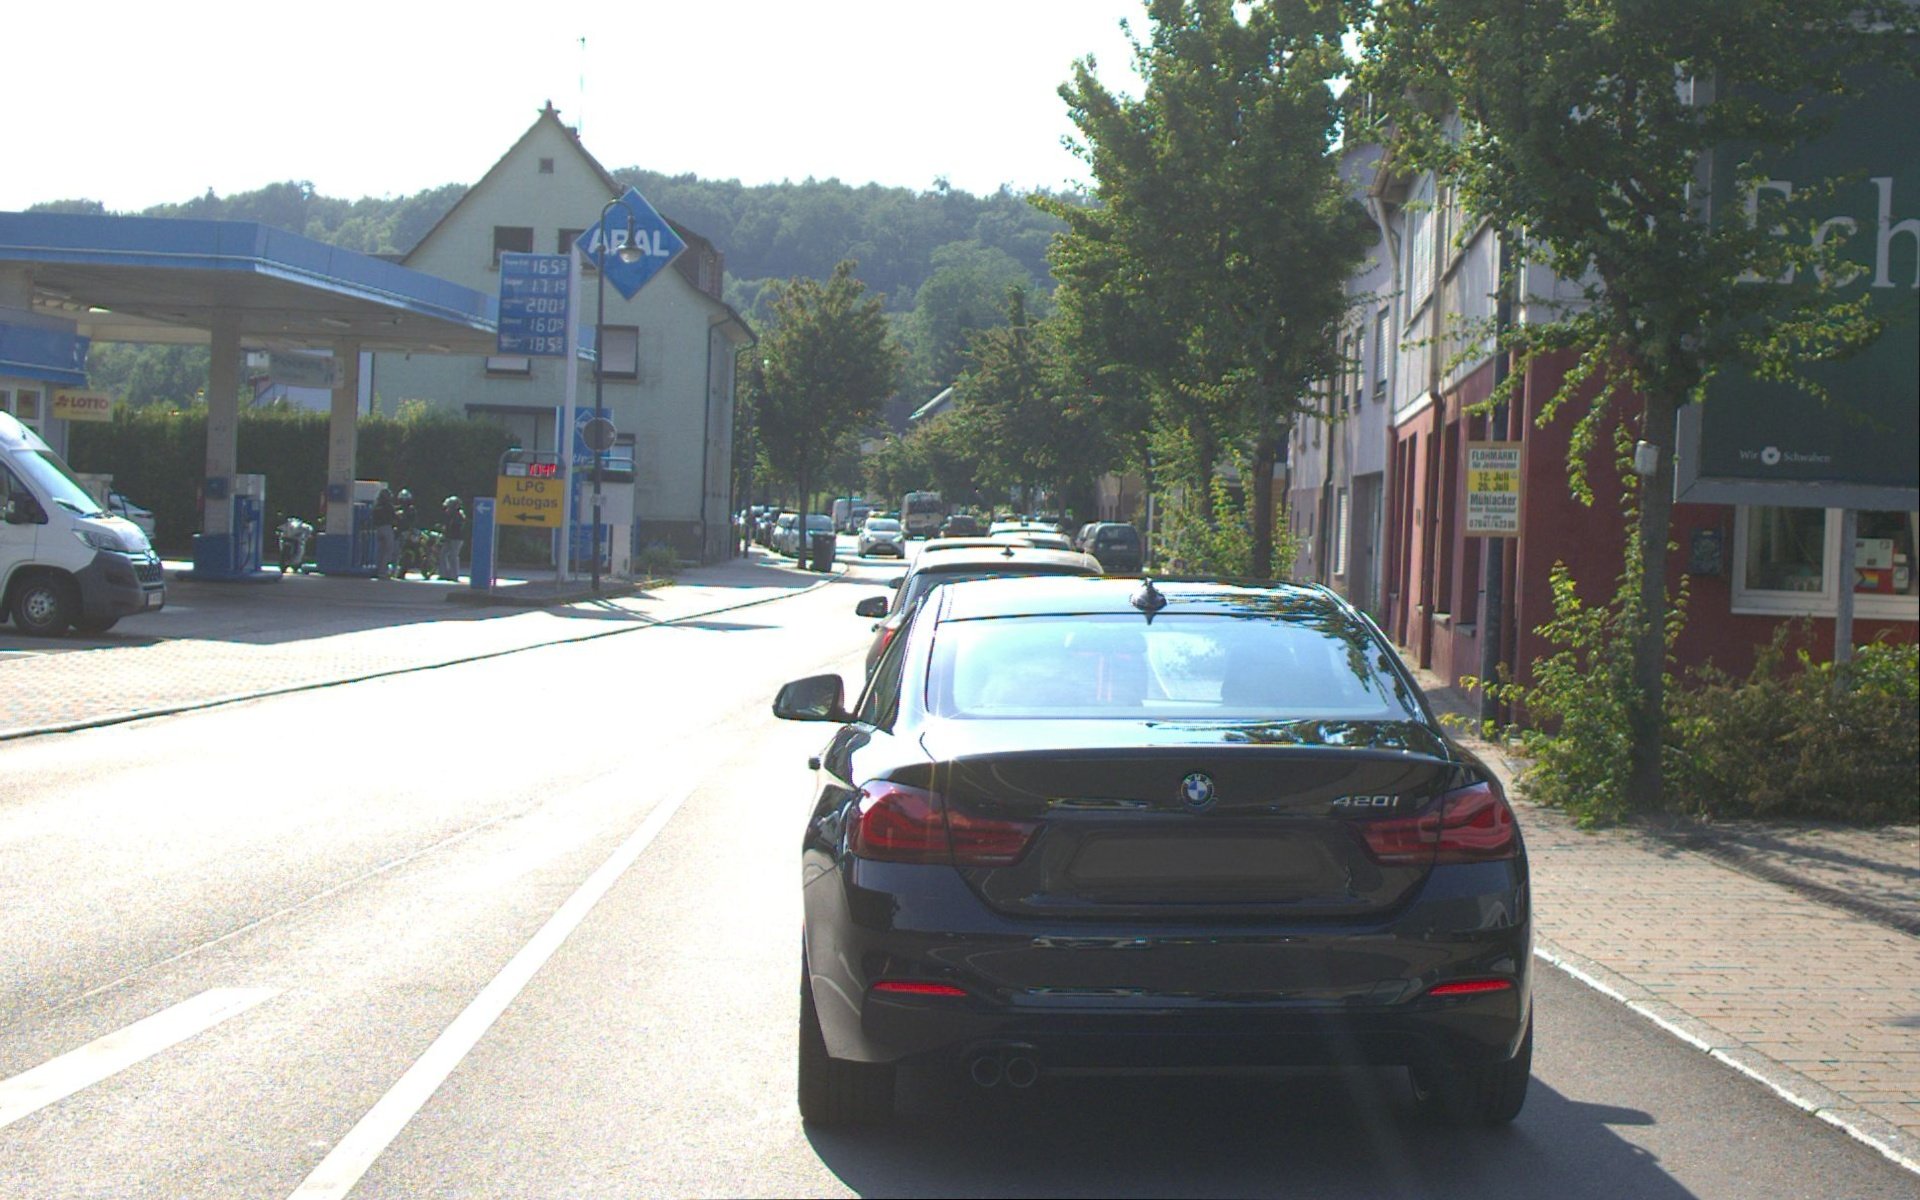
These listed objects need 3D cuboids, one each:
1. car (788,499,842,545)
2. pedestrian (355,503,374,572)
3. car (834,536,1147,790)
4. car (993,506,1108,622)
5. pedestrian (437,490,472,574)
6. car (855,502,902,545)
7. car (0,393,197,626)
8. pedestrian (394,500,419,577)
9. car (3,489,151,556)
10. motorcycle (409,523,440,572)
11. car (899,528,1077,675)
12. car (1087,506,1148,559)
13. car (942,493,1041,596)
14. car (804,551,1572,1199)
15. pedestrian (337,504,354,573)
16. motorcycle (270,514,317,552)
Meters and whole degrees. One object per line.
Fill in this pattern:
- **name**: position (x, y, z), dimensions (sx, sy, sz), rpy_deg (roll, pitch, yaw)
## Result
- **car**: position (-4.867, -2.640, 115.674), dimensions (1.597, 1.480, 3.475), rpy_deg (2, 2, 0)
- **pedestrian**: position (-11.843, -1.242, 68.359), dimensions (0.262, 1.378, 0.288), rpy_deg (2, 2, 7)
- **car**: position (0.272, 0.339, 22.185), dimensions (1.772, 1.451, 3.515), rpy_deg (2, 1, 4)
- **car**: position (1.356, -0.565, 50.454), dimensions (1.592, 1.594, 3.893), rpy_deg (1, 2, 2)
- **pedestrian**: position (-10.110, -1.367, 68.764), dimensions (0.610, 1.664, 0.442), rpy_deg (1, 2, -2)
- **car**: position (-2.991, -2.820, 125.970), dimensions (1.597, 1.480, 3.475), rpy_deg (2, 2, 0)
- **car**: position (-11.799, -1.093, 37.938), dimensions (6.159, 2.436, 2.249), rpy_deg (2, 2, 1)
- **pedestrian**: position (-11.093, -1.235, 68.915), dimensions (0.407, 1.541, 0.433), rpy_deg (1, 2, -2)
- **car**: position (-19.779, -1.738, 76.970), dimensions (3.150, 1.423, 1.440), rpy_deg (1, 2, -16)
- **motorcycle**: position (-10.659, -1.047, 68.464), dimensions (0.363, 0.940, 1.696), rpy_deg (1, 2, -1)
- **car**: position (0.339, -0.021, 36.452), dimensions (1.754, 1.409, 3.422), rpy_deg (1, 2, 2)
- **car**: position (4.722, -2.046, 103.151), dimensions (1.597, 1.480, 3.475), rpy_deg (2, 2, 0)
- **car**: position (0.592, -1.022, 61.919), dimensions (1.603, 1.761, 3.411), rpy_deg (1, 2, 3)
- **car**: position (0.452, 0.591, 9.811), dimensions (1.699, 1.364, 4.263), rpy_deg (1, 2, -2)
- **pedestrian**: position (-12.112, -1.209, 67.747), dimensions (0.287, 1.362, 0.263), rpy_deg (1, 2, -3)
- **motorcycle**: position (-13.361, -1.350, 68.956), dimensions (0.459, 0.727, 1.473), rpy_deg (2, 2, 8)
